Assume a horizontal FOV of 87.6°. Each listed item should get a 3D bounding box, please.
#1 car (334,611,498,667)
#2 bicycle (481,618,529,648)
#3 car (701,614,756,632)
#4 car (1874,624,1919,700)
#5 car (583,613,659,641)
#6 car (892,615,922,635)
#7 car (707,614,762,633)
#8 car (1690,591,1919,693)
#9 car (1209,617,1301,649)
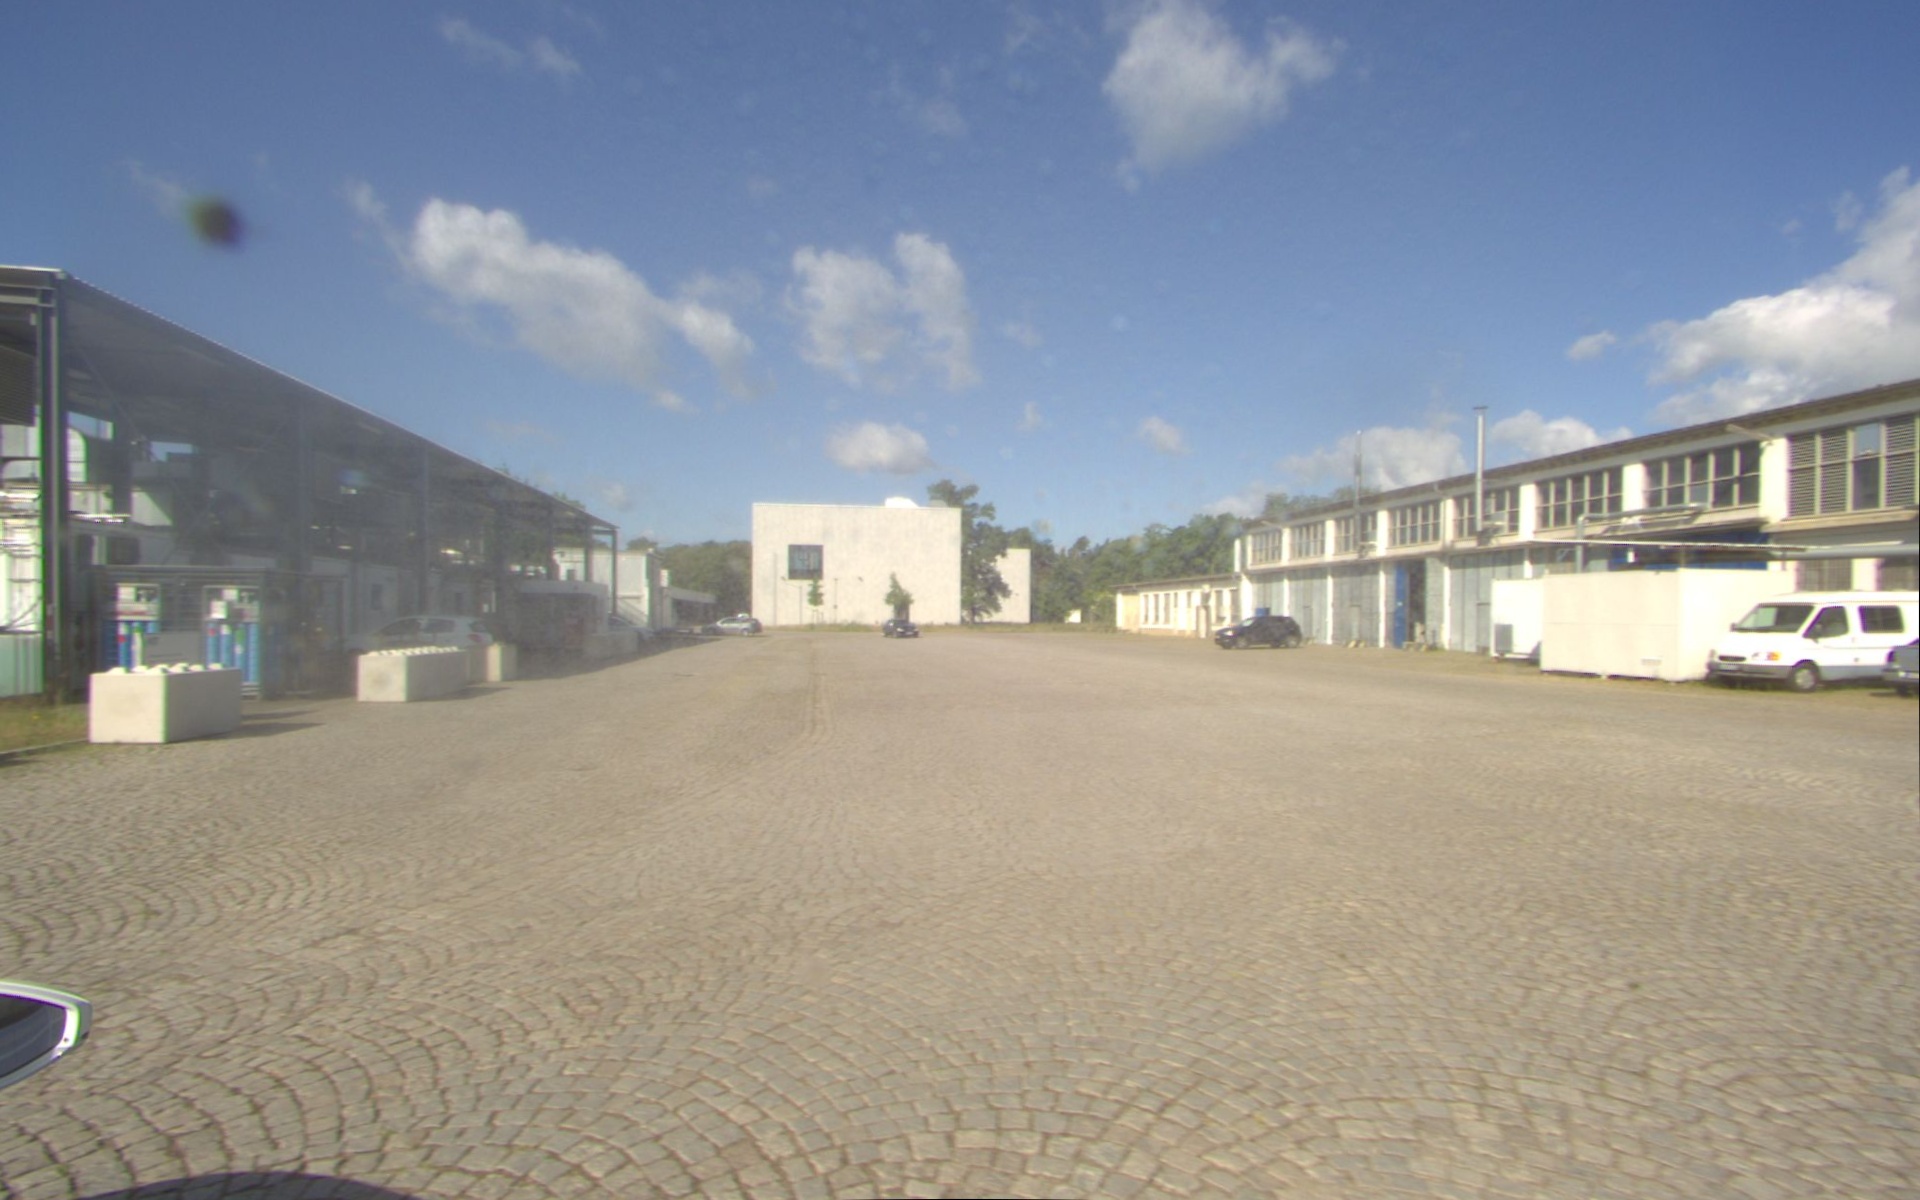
[{"bbox_3d":[-14.087,1.007,26.099,3.409,1.394,1.610,1,-1,-12],"label":"car"},{"bbox_3d":[-17.784,1.297,39.159,1.640,1.151,0.485,1,0,-10],"label":"bicycle"},{"bbox_3d":[-18.052,1.802,78.269,4.109,1.422,1.740,1,-1,-10],"label":"car"},{"bbox_3d":[19.970,1.199,19.081,3.758,1.417,1.692,1,0,-6],"label":"car"},{"bbox_3d":[-18.044,1.426,53.388,3.629,1.427,1.674,1,-1,-12],"label":"car"},{"bbox_3d":[-4.002,1.897,75.079,1.708,1.448,4.073,1,-1,-11],"label":"car"},{"bbox_3d":[-18.313,1.914,81.504,4.277,1.489,1.740,1,-1,-10],"label":"car"},{"bbox_3d":[18.965,0.878,21.897,4.712,2.108,2.010,0,-1,-6],"label":"car"},{"bbox_3d":[14.437,1.595,49.115,4.000,1.489,1.740,0,-1,-10],"label":"car"}]
